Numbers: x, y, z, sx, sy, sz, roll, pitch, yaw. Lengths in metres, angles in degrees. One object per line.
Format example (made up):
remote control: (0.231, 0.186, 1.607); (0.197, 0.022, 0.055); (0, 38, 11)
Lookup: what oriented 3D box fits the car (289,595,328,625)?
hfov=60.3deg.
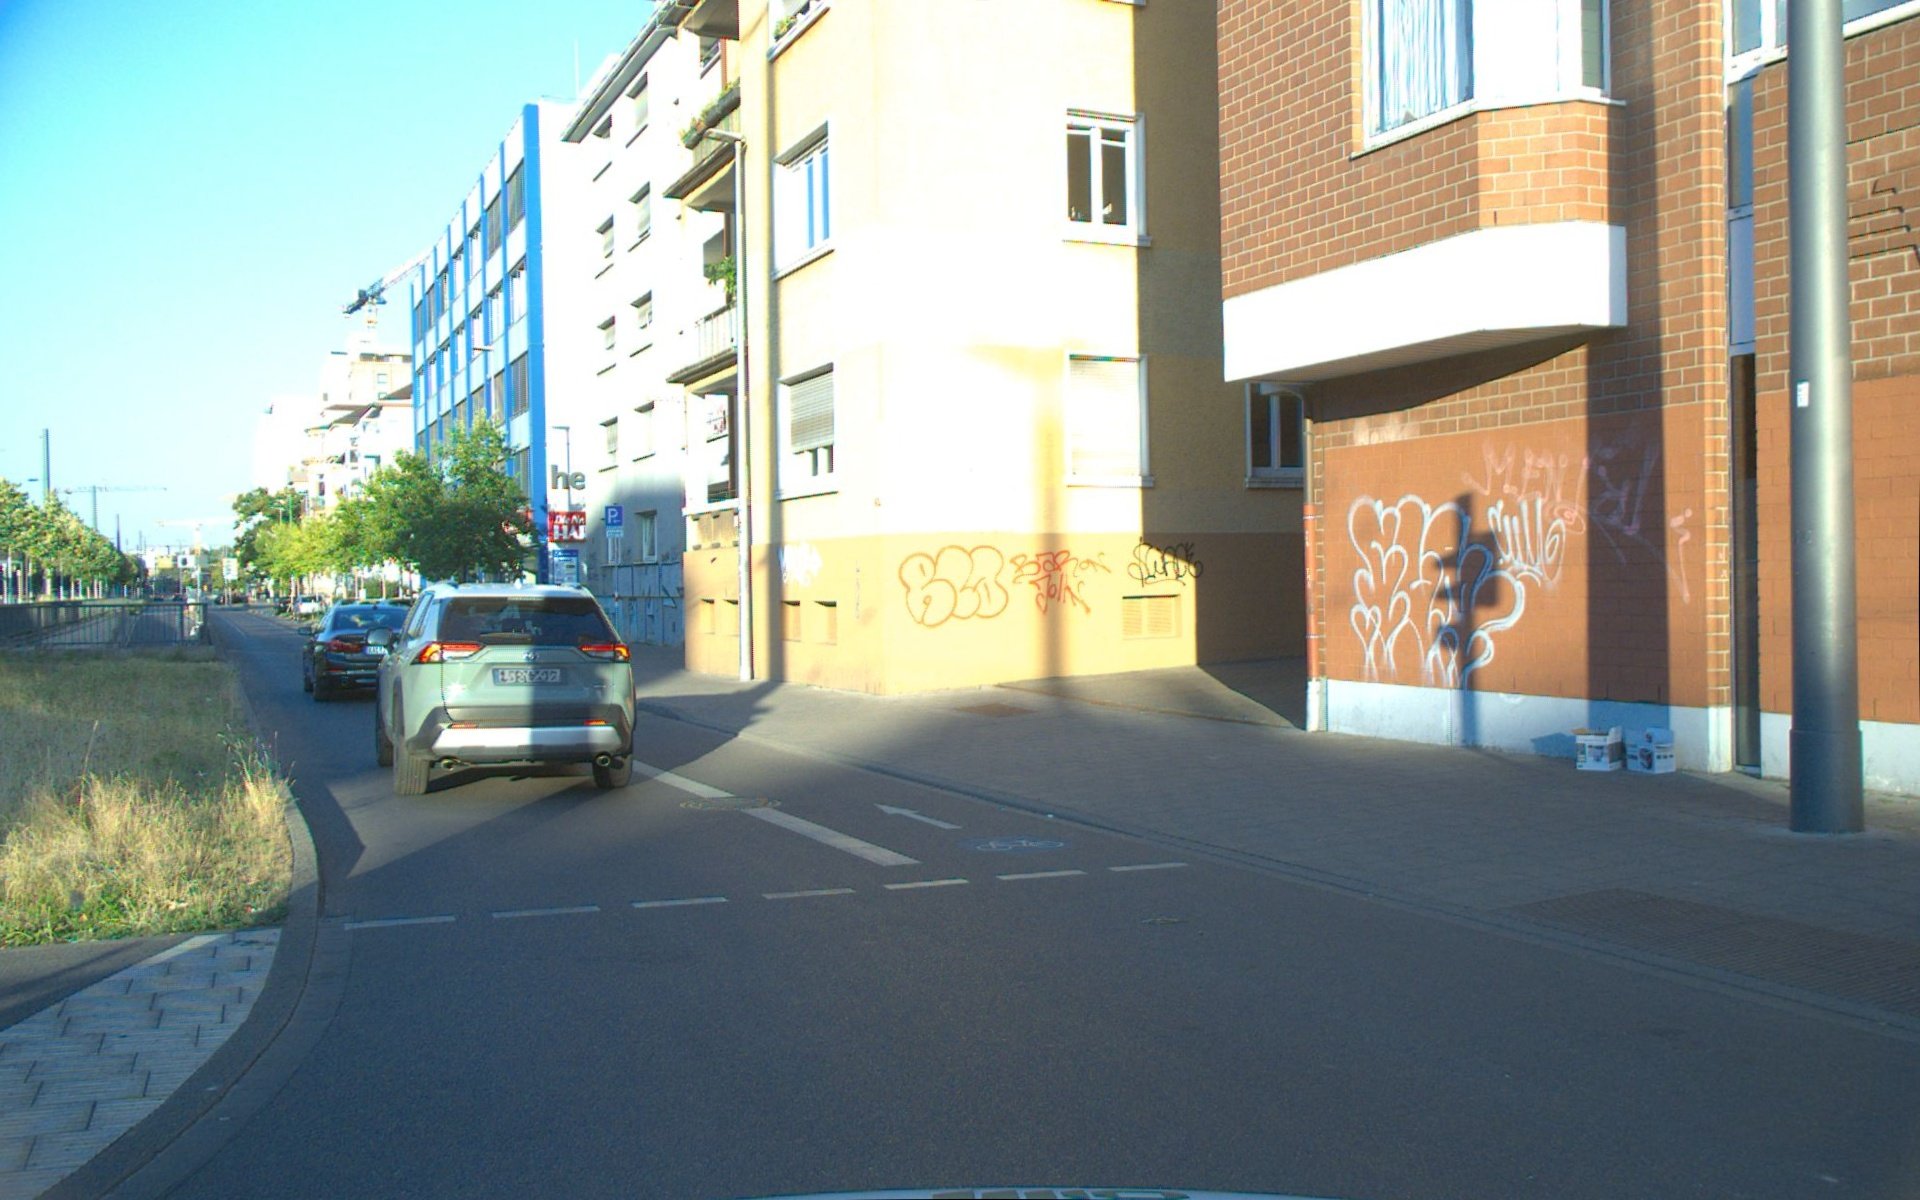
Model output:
car: (-41.757, 0.634, 106.000); (1.833, 1.735, 4.216); (-6, 2, -27)

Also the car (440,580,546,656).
car: (-11.632, 0.413, 41.016); (1.735, 1.682, 4.492); (-4, 2, -25)

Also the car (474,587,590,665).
car: (-9.453, 0.542, 36.375); (1.650, 1.544, 3.568); (-3, 1, -28)

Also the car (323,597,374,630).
car: (-29.456, 0.660, 79.638); (1.798, 1.480, 4.092); (-2, 1, -27)

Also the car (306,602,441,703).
car: (-9.528, 0.807, 26.706); (1.832, 1.488, 4.163); (1, -1, -23)

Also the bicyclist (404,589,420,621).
bicyclist: (-26.234, 0.237, 79.146); (0.552, 1.501, 0.617); (-4, 1, -27)

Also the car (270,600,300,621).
car: (-54.021, 0.839, 132.336); (1.773, 1.496, 4.404); (-4, 2, -28)

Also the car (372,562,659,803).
car: (-3.970, 0.625, 14.270); (1.833, 1.744, 4.162); (1, -1, -23)

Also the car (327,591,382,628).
car: (-25.925, 0.407, 70.706); (1.664, 1.479, 4.093); (-4, 1, -27)

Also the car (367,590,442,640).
car: (-19.963, 0.522, 59.309); (1.798, 1.594, 4.767); (-3, 1, -27)
